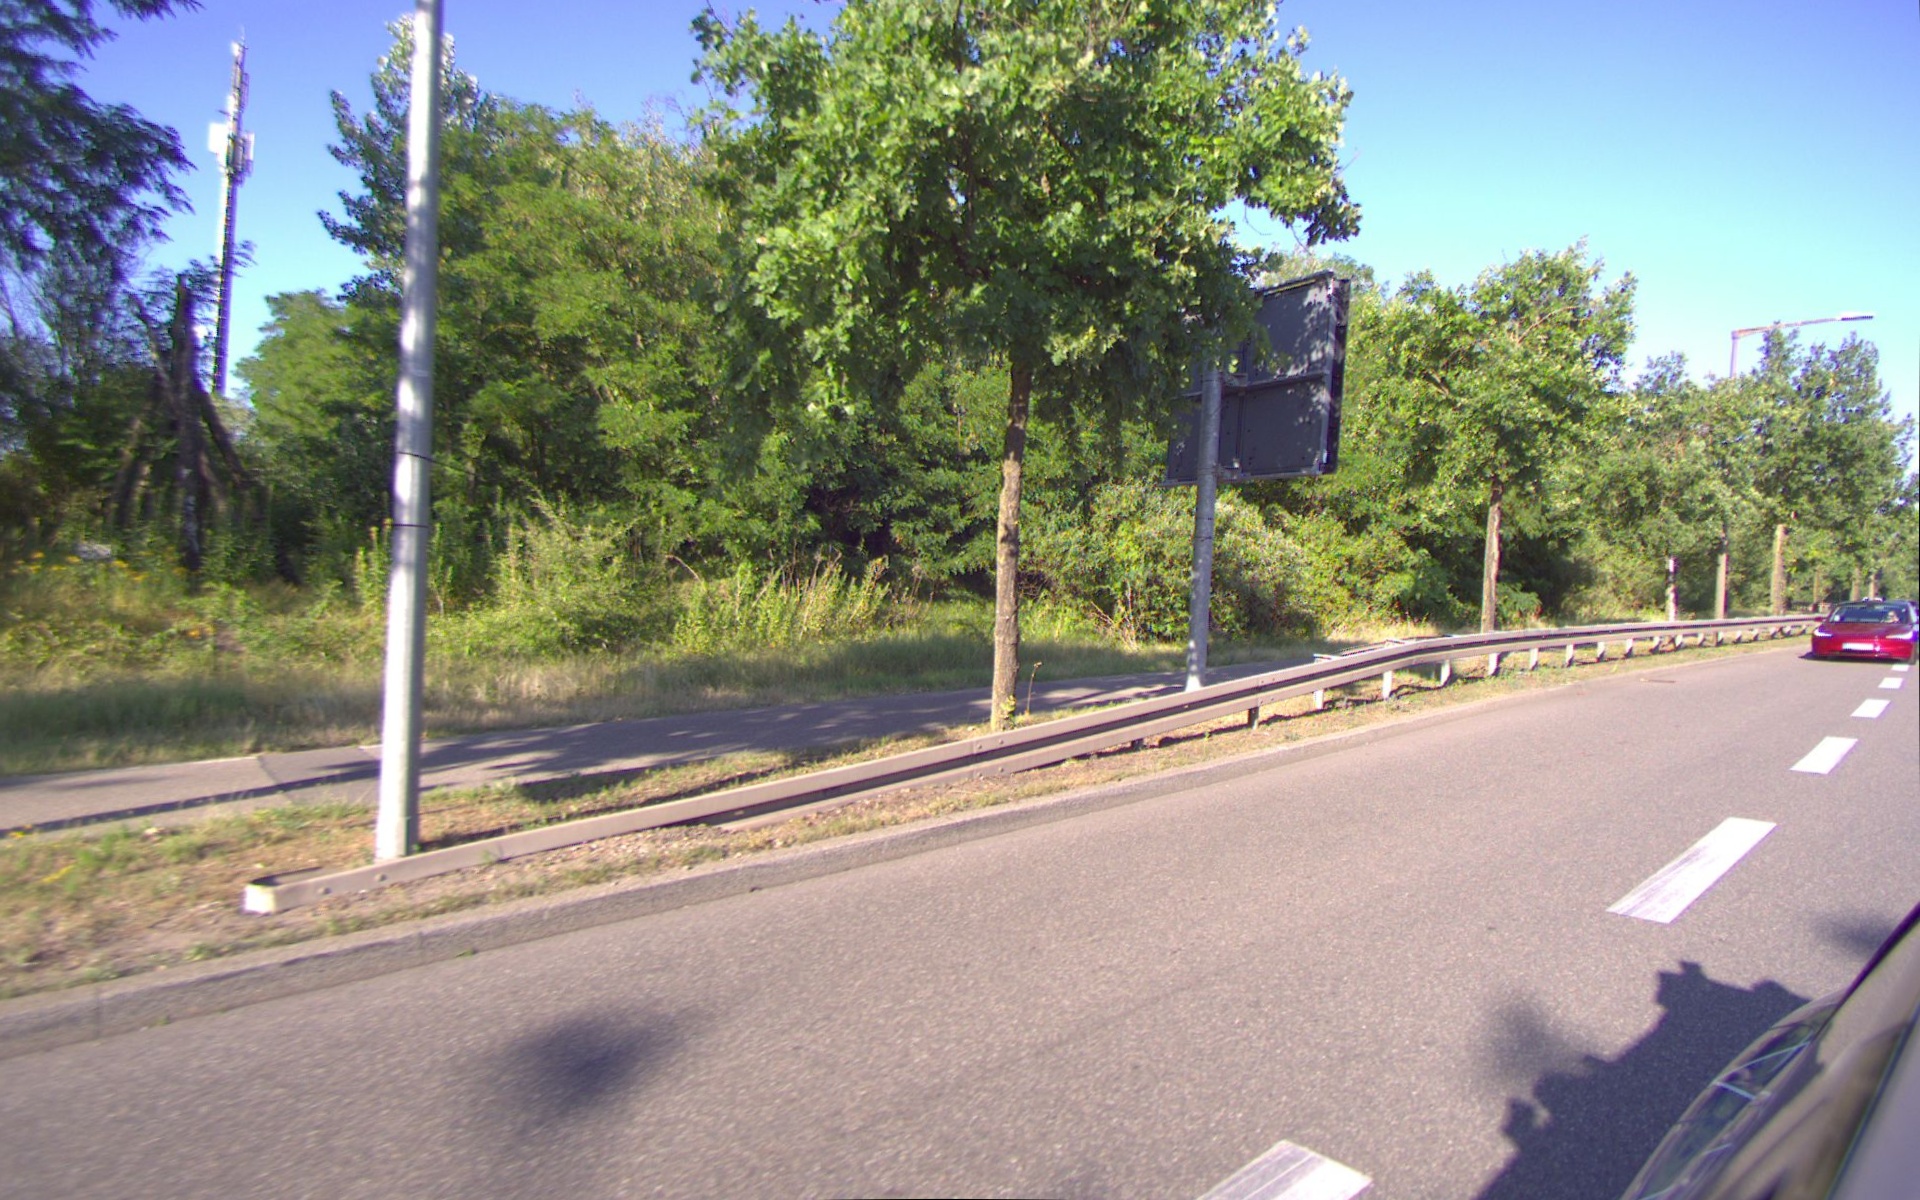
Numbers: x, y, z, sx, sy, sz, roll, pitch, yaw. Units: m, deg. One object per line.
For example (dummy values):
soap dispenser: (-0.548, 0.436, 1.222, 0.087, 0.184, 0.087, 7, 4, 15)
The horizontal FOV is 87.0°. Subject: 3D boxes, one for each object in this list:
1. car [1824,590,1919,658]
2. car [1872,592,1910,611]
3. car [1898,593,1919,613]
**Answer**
car: (22.147, 0.503, 24.151, 4.285, 1.460, 1.780, 0, 1, -42)
car: (84.954, 0.131, 92.403, 1.821, 1.609, 4.592, 3, 2, 34)
car: (73.452, 0.252, 77.428, 1.766, 1.484, 4.331, 2, 2, 33)
